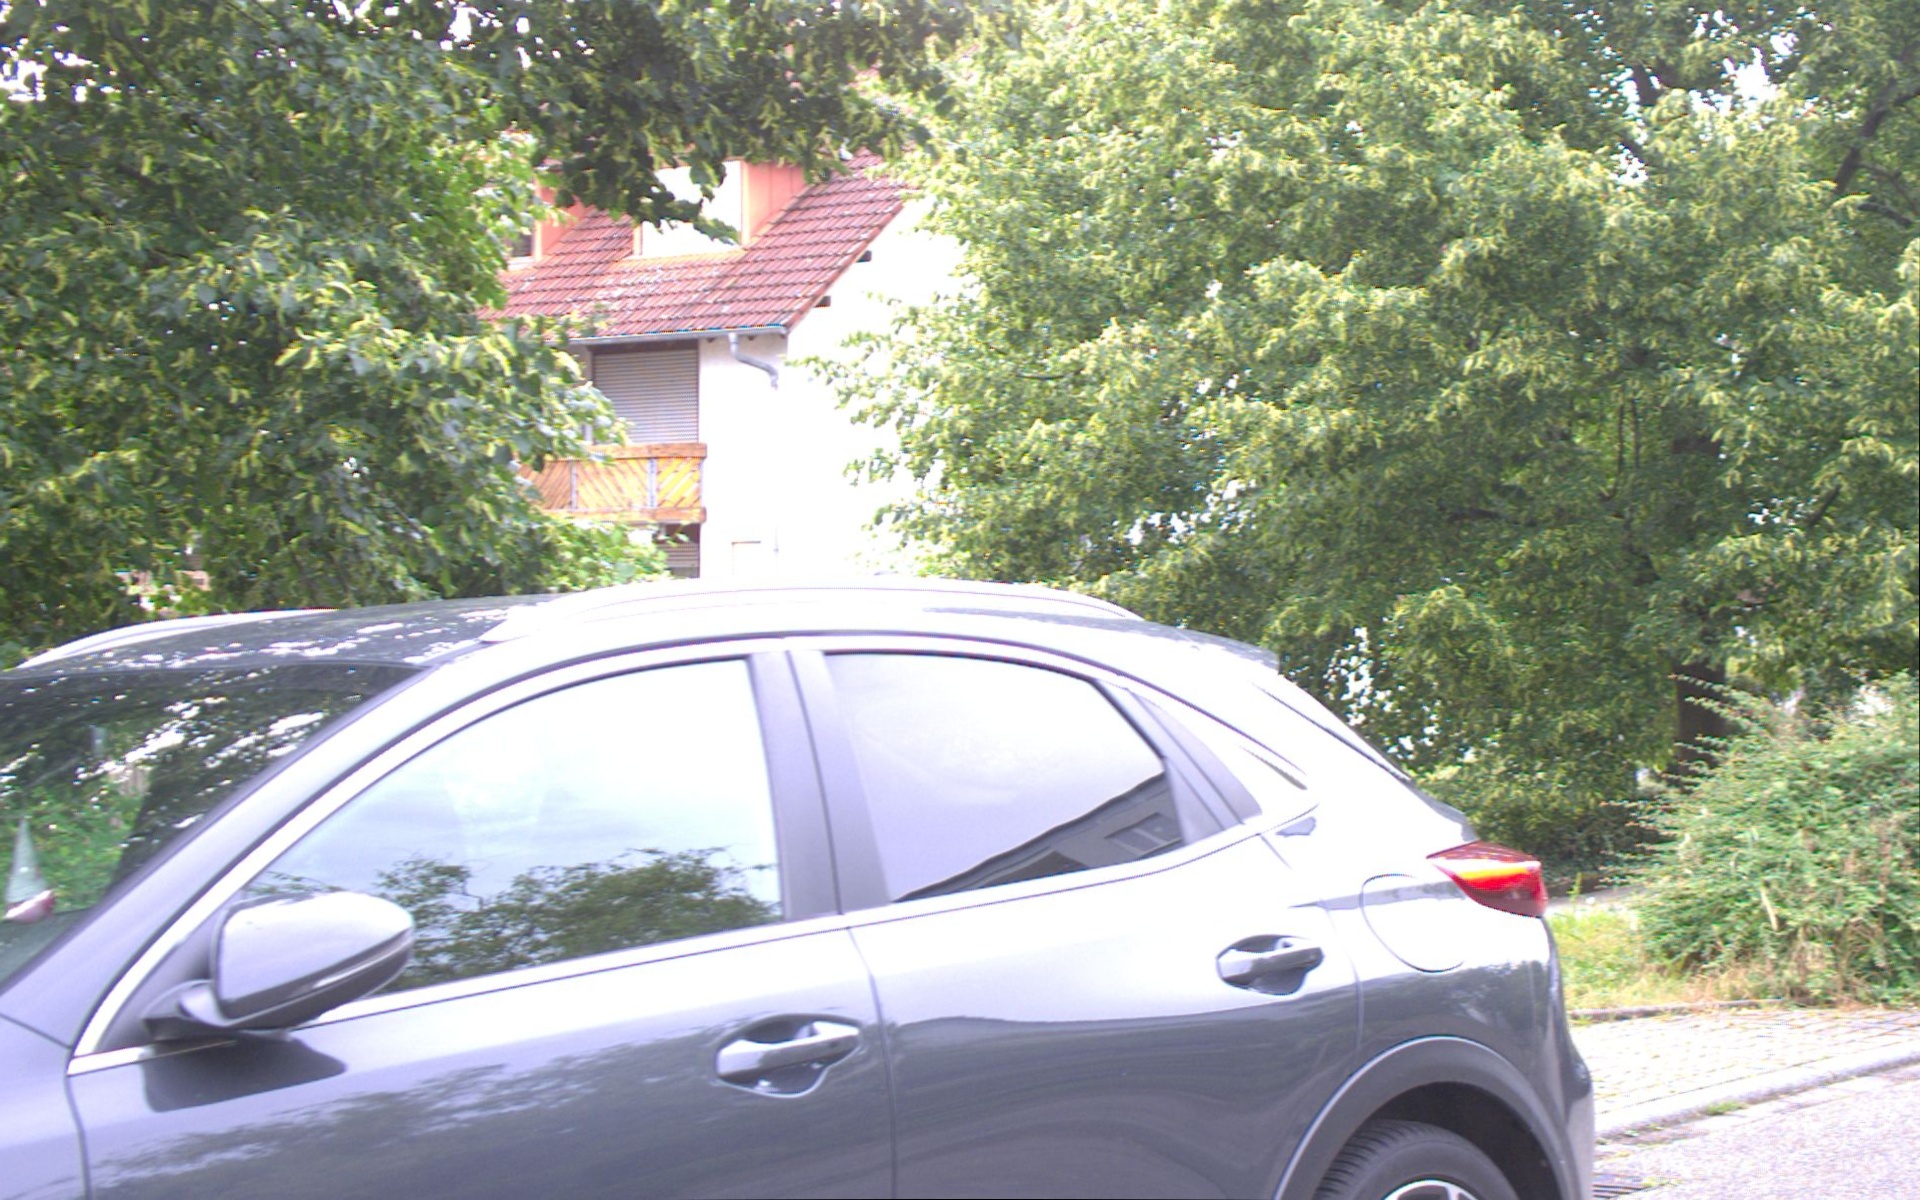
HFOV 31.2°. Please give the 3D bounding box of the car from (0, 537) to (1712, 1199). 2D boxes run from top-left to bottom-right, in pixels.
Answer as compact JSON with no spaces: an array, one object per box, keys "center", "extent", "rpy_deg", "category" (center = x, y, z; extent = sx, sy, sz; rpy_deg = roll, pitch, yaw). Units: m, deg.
[{"center":[-0.899,0.721,4.469],"extent":[1.746,1.526,4.184],"rpy_deg":[-2,-1,43],"category":"car"}]
